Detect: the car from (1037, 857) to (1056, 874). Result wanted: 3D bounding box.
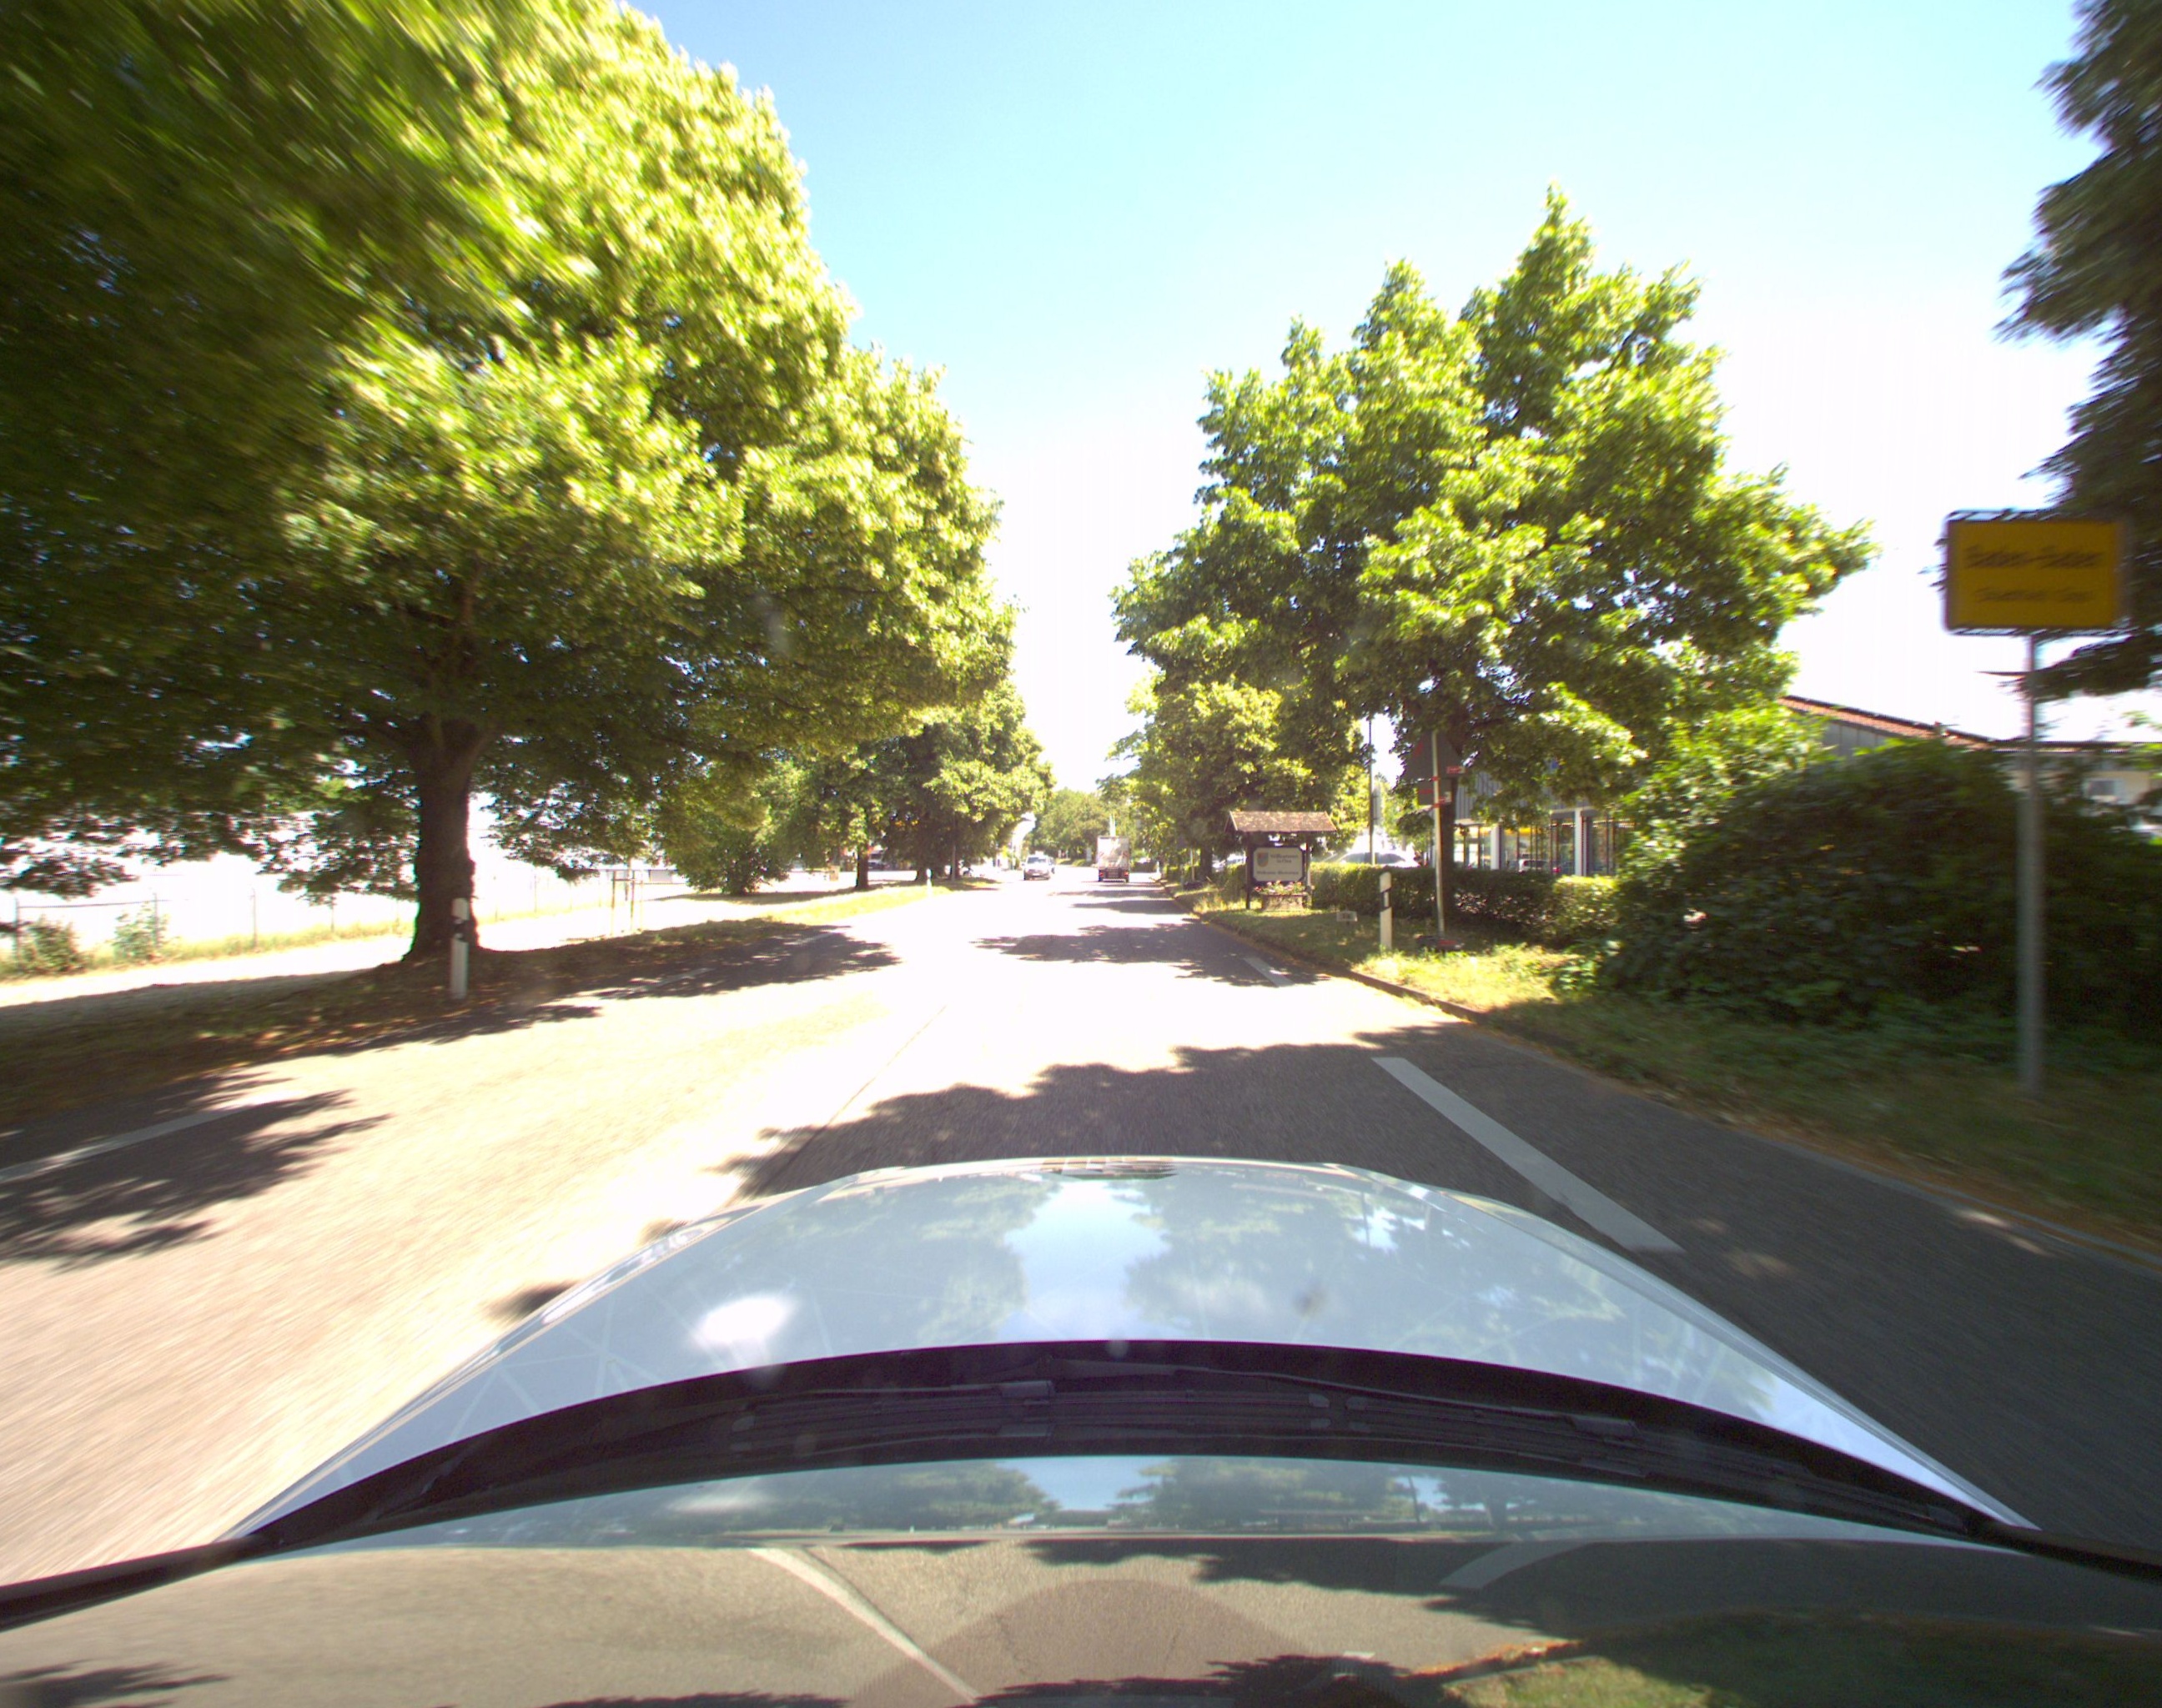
[{"bbox_3d":[-3.679,1.198,86.744,1.738,1.746,4.579,-1,-1,1],"label":"car"}]

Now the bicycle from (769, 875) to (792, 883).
[{"bbox_3d":[-24.059,2.020,65.284,1.669,0.646,0.424,-1,-1,-4],"label":"bicycle"}]

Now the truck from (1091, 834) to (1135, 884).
[{"bbox_3d":[2.194,0.276,54.253,2.521,3.135,5.369,-1,0,5],"label":"truck"}]

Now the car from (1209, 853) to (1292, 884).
[{"bbox_3d":[9.006,0.763,43.483,4.092,1.576,1.867,-1,-1,1],"label":"car"}]

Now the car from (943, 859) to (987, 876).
[{"bbox_3d":[-9.498,1.109,66.575,3.390,1.362,1.343,-1,-1,30],"label":"car"}]

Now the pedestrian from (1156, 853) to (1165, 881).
[{"bbox_3d":[5.147,0.827,52.598,0.545,1.776,0.578,-1,-1,6],"label":"pedestrian"}]

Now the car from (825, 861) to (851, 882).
[{"bbox_3d":[-19.664,1.401,66.087,1.738,1.585,3.981,-1,0,-13],"label":"car"}]

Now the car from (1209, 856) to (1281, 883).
[{"bbox_3d":[9.697,0.888,48.283,3.931,1.510,1.707,-1,-1,1],"label":"car"}]

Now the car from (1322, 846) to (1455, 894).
[{"bbox_3d":[10.474,0.532,27.937,3.921,1.564,1.798,0,-1,1],"label":"car"}]

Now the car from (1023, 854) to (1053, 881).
[{"bbox_3d":[-3.283,0.981,61.056,1.991,1.857,5.304,-1,-1,-6],"label":"car"}]

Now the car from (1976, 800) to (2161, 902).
[{"bbox_3d":[20.846,-0.136,15.698,5.227,1.766,1.920,-2,0,-2],"label":"car"}]

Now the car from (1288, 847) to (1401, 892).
[{"bbox_3d":[10.673,0.611,33.212,4.003,1.727,1.853,-1,-1,1],"label":"car"}]
